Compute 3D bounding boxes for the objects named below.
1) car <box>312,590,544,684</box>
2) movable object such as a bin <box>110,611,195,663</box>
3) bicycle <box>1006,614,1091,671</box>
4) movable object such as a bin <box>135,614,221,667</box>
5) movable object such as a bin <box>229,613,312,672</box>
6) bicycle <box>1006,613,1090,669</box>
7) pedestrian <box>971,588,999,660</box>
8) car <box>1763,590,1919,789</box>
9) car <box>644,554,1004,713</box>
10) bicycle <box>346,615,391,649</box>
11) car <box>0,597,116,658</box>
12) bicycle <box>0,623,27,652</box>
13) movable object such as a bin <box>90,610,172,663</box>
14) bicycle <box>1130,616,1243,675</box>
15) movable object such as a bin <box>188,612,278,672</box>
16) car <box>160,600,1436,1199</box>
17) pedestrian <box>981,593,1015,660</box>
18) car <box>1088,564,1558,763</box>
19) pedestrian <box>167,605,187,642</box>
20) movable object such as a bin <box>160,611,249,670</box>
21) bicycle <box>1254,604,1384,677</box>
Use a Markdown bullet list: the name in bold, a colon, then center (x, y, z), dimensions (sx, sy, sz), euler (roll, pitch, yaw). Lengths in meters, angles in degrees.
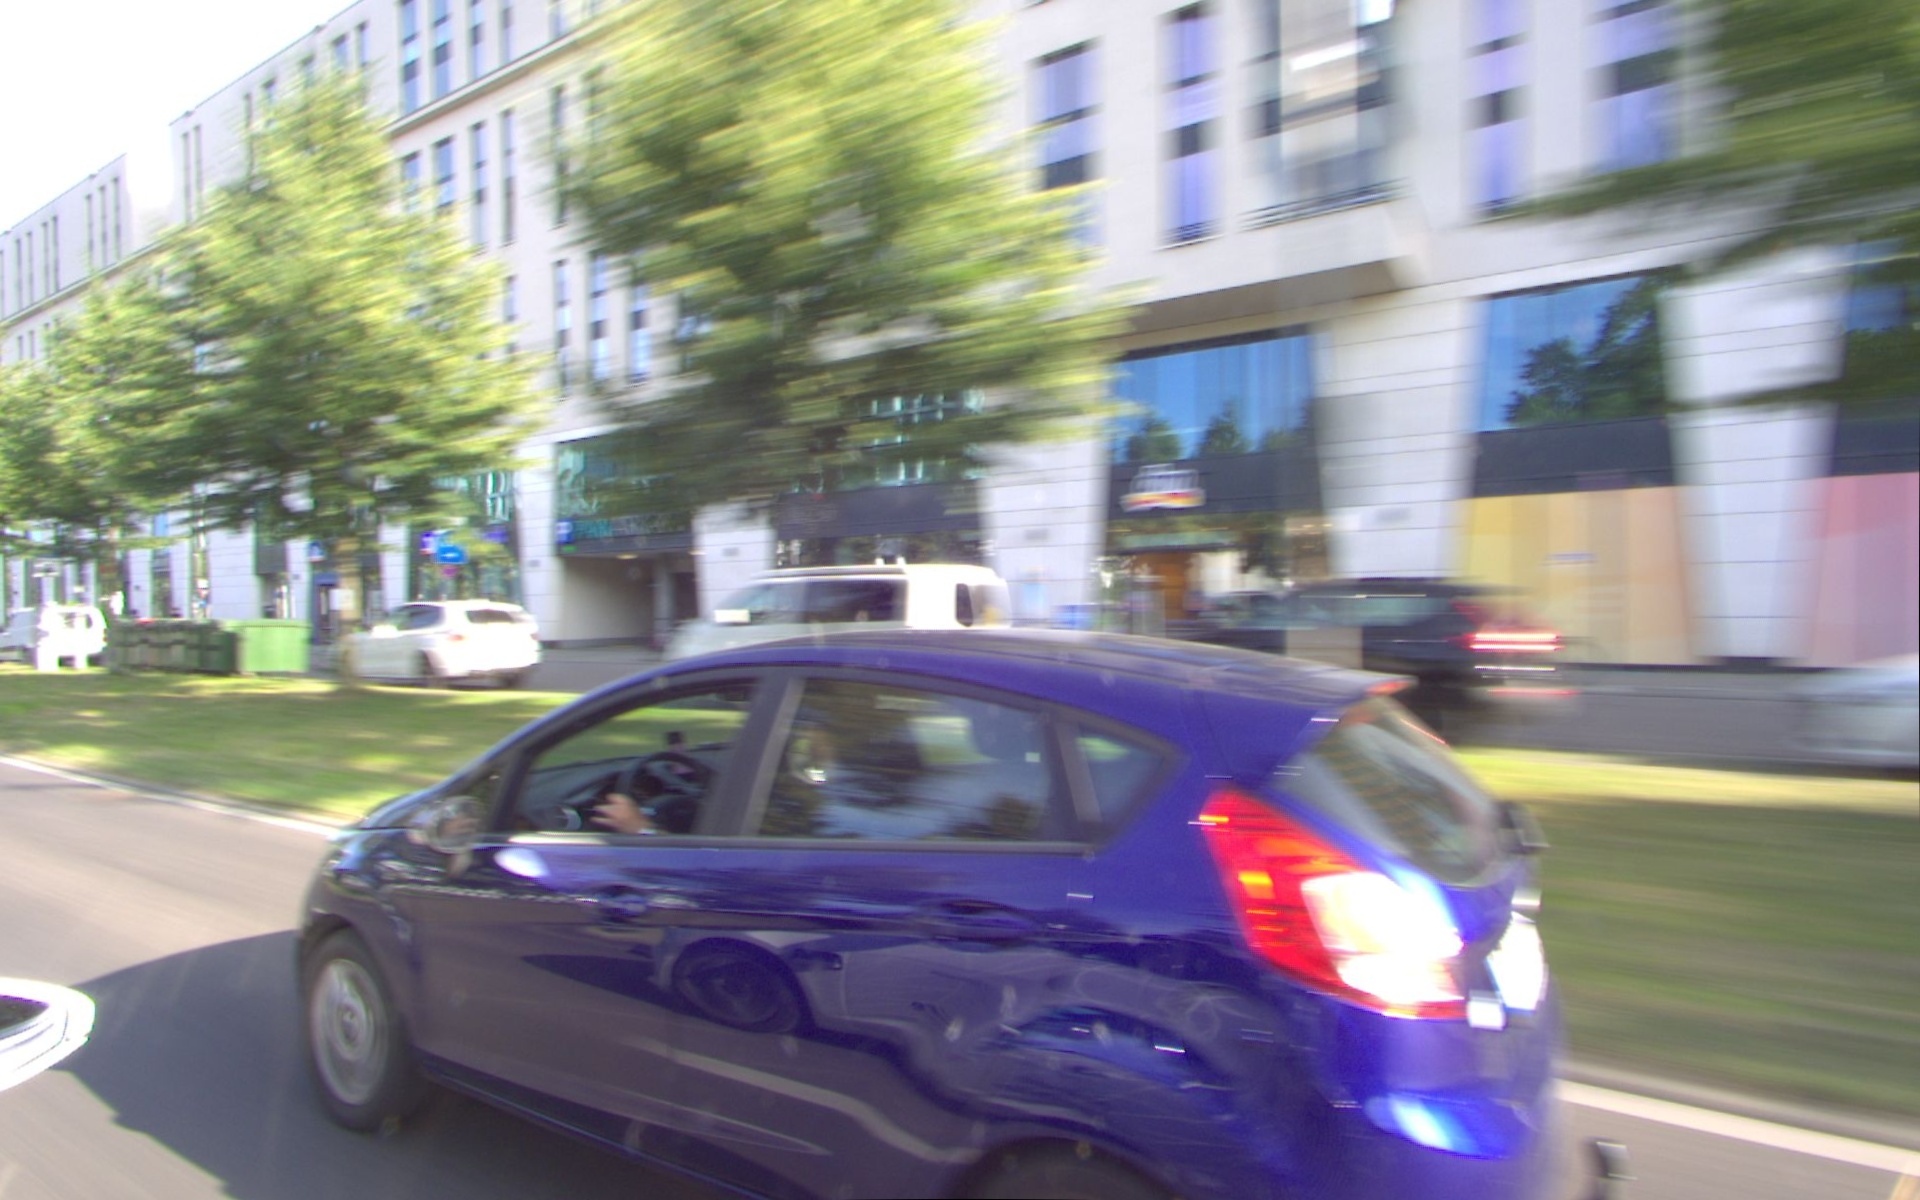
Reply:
- **car**: center (-10.388, 0.667, 19.456), dimensions (4.777, 1.651, 1.728), euler (-1, 0, 30)
- **movable object such as a bin**: center (-19.996, 0.917, 24.809), dimensions (1.173, 1.252, 1.276), euler (-1, -2, 29)
- **bicycle**: center (1.757, 0.845, 20.003), dimensions (1.708, 1.096, 0.343), euler (-1, 3, 33)
- **movable object such as a bin**: center (-18.808, 0.974, 24.106), dimensions (1.173, 1.252, 1.276), euler (-1, -2, 29)
- **movable object such as a bin**: center (-15.151, 0.931, 22.051), dimensions (1.383, 1.252, 1.329), euler (1, -2, -30)
- **bicycle**: center (1.789, 0.840, 20.475), dimensions (1.718, 1.096, 0.343), euler (-1, 3, 33)
- **pedestrian**: center (0.563, 0.542, 22.379), dimensions (0.530, 1.594, 0.515), euler (0, -1, 13)
- **car**: center (8.533, 0.646, 7.169), dimensions (4.106, 1.430, 1.614), euler (-1, -2, 30)
- **car**: center (-1.990, 0.472, 14.038), dimensions (4.958, 1.900, 1.835), euler (-1, -2, 31)
- **bicycle**: center (-20.169, 1.102, 34.146), dimensions (1.918, 1.131, 0.490), euler (-1, 0, 33)
- **car**: center (-27.889, 0.860, 30.640), dimensions (4.232, 1.733, 1.825), euler (-1, -2, 30)
- **bicycle**: center (-51.692, 2.056, 54.681), dimensions (2.245, 1.590, 0.554), euler (-1, -2, 33)
- **movable object such as a bin**: center (-21.043, 0.937, 25.430), dimensions (1.160, 1.308, 1.276), euler (-1, -2, 29)
- **bicycle**: center (4.177, 0.831, 18.545), dimensions (2.015, 1.014, 0.417), euler (-1, 3, 33)
- **movable object such as a bin**: center (-16.479, 0.952, 22.715), dimensions (1.173, 1.318, 1.276), euler (-1, -2, 29)
- **car**: center (-0.734, 0.783, 3.108), dimensions (3.852, 1.442, 1.558), euler (-1, -2, 32)
- **pedestrian**: center (0.881, 0.617, 23.183), dimensions (0.589, 1.541, 0.513), euler (-1, -2, 32)
- **car**: center (3.625, 0.600, 10.311), dimensions (4.279, 1.671, 1.725), euler (-1, -2, 34)
- **pedestrian**: center (-37.474, 1.137, 47.905), dimensions (0.637, 1.785, 0.536), euler (-1, -2, 33)
- **movable object such as a bin**: center (-17.626, 0.949, 23.381), dimensions (1.173, 1.334, 1.276), euler (-1, -2, 29)
- **bicycle**: center (6.166, 0.690, 17.214), dimensions (2.068, 1.115, 0.420), euler (-3, 3, -2)
